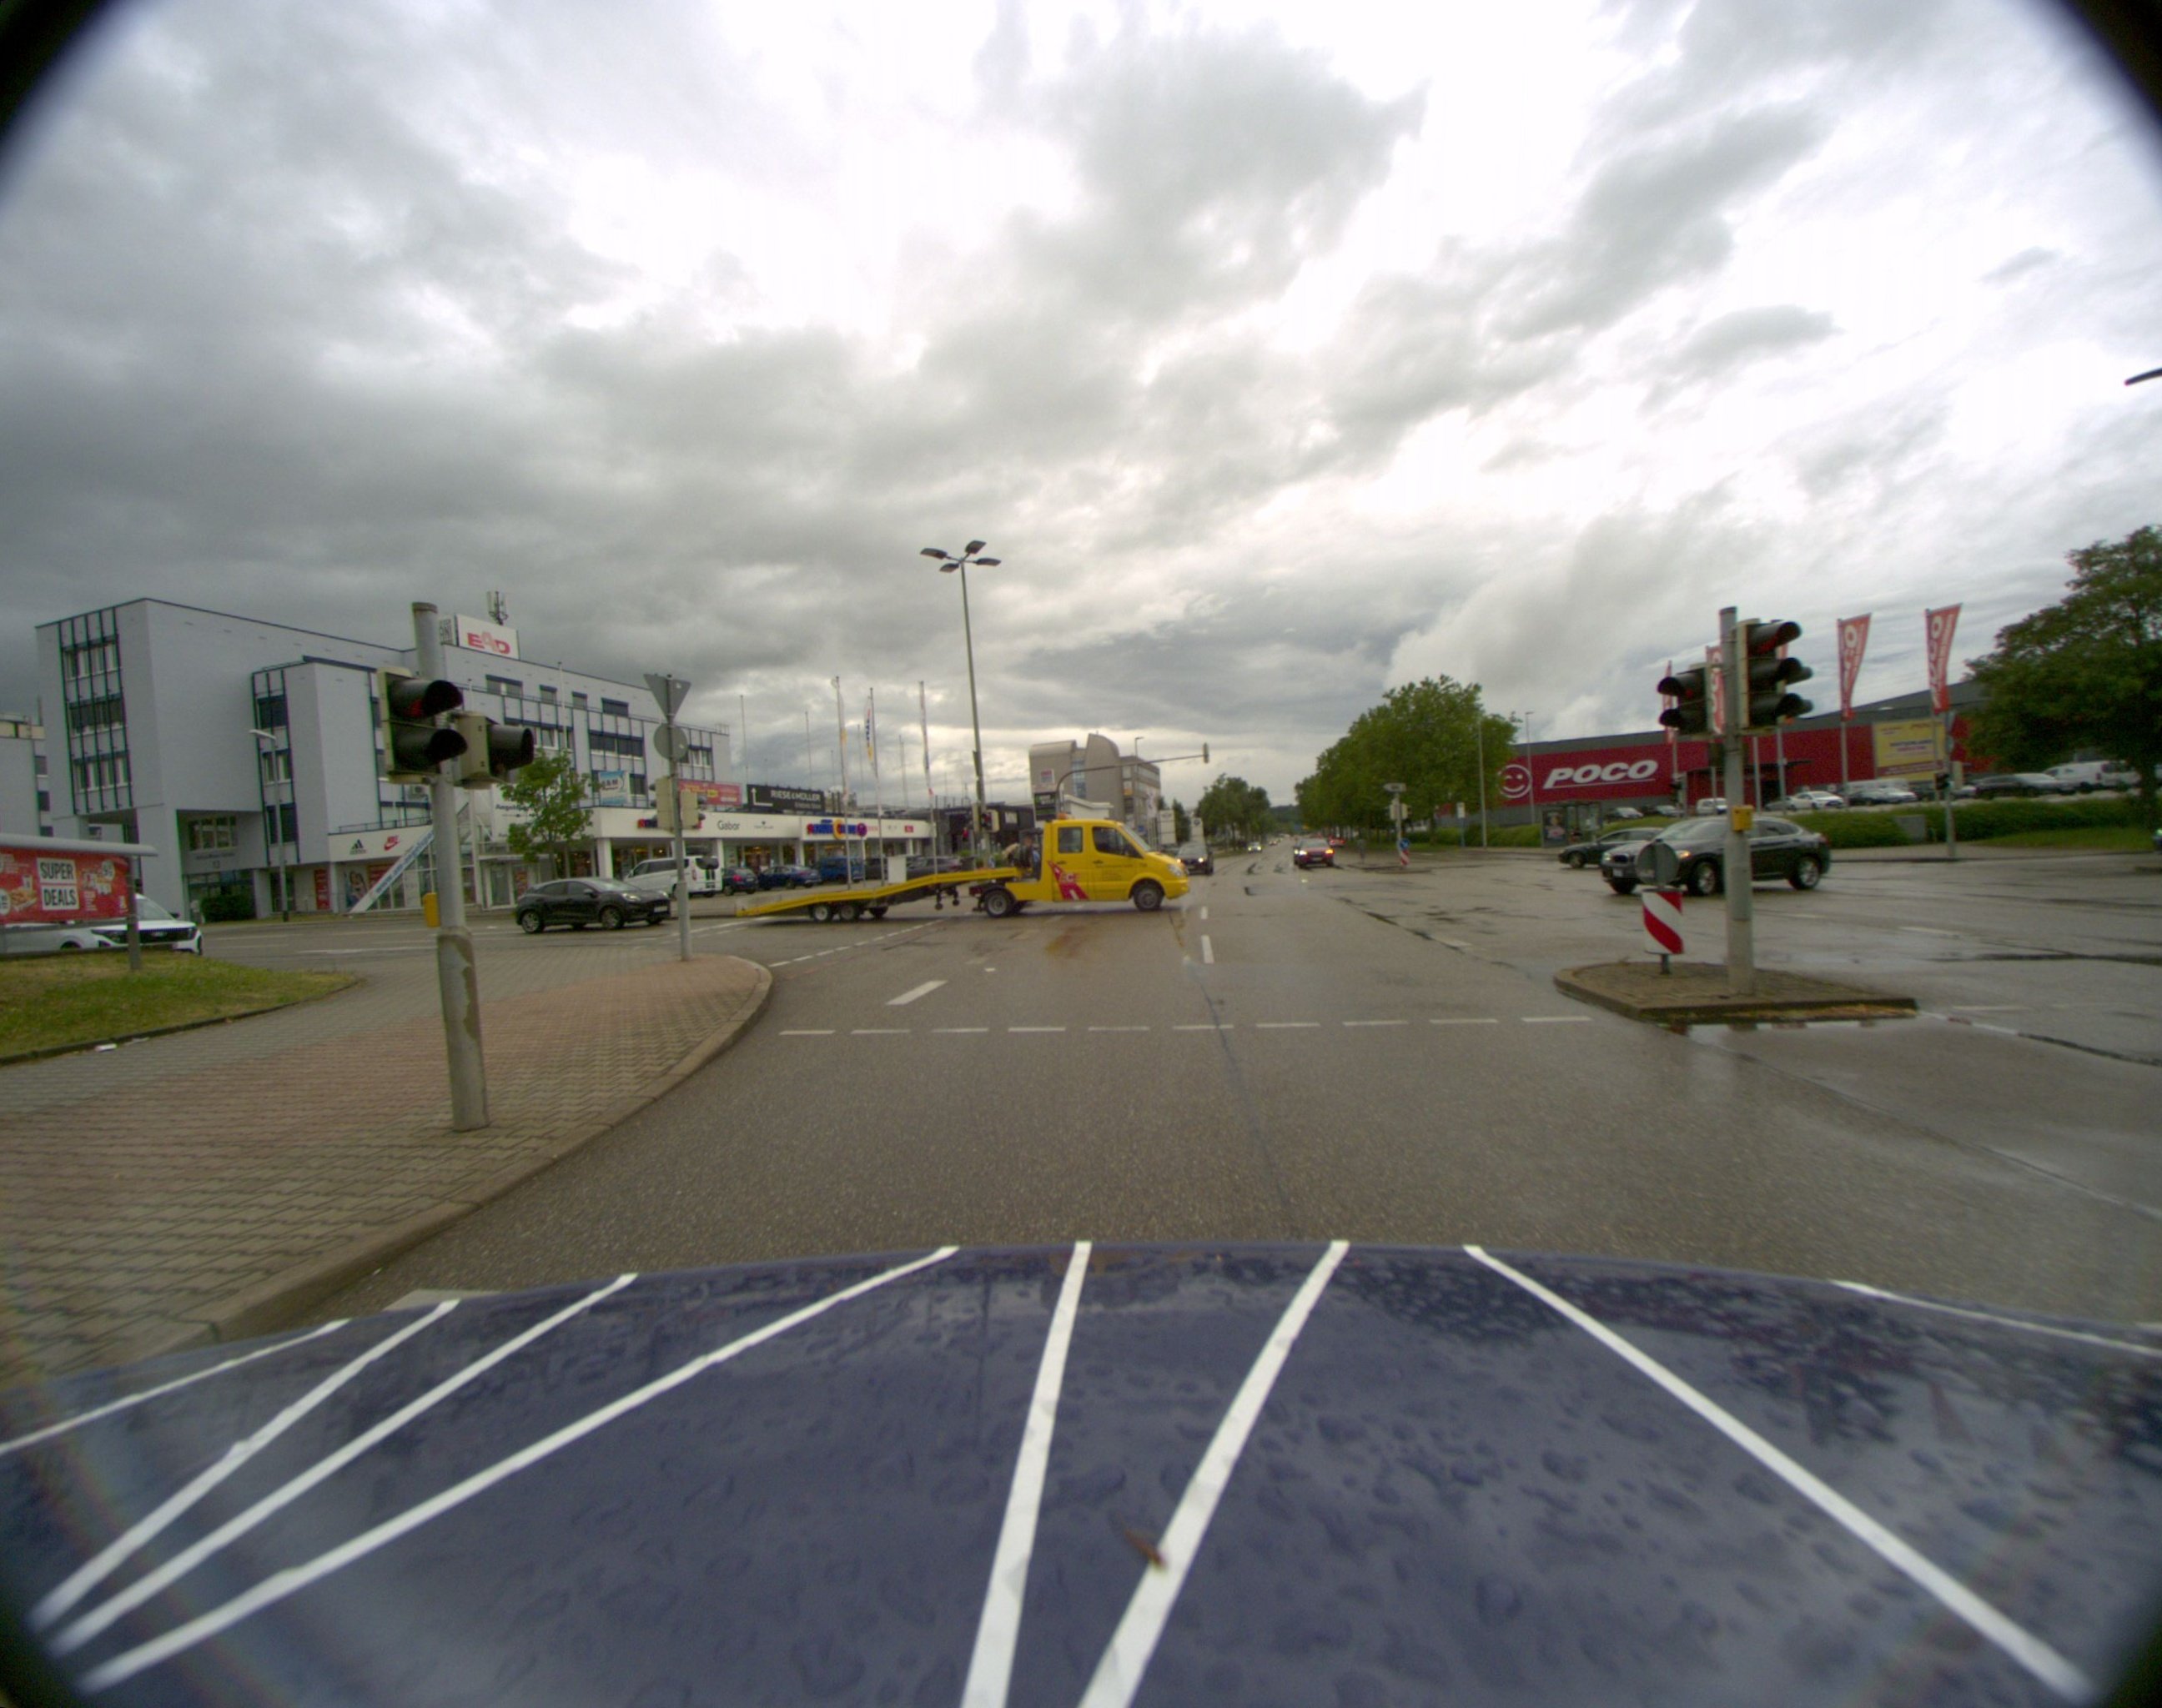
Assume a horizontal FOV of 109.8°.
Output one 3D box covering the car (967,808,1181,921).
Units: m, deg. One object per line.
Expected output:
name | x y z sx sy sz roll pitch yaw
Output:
car | -0.080 0.276 19.310 5.008 2.459 2.248 -3 0 9

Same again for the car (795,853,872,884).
car | -15.956 0.908 49.066 4.366 1.754 1.899 -3 1 16

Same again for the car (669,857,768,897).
car | -18.740 1.175 39.296 4.366 1.809 1.899 -3 1 16

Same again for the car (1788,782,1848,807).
car | 58.864 -4.718 60.764 1.670 1.636 3.967 -3 0 15

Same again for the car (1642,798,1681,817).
car | 58.239 -4.657 76.281 1.694 1.636 3.967 -3 0 15

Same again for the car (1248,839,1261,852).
car | 23.308 -1.162 101.828 1.618 1.718 3.681 -2 0 13

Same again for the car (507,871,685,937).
car | -13.848 1.414 21.814 3.994 1.532 1.815 -3 2 9

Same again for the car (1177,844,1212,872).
car | 6.272 0.171 41.757 1.752 1.455 4.003 -1 1 11

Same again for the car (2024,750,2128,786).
car | 57.481 -4.932 43.990 1.629 1.636 3.831 -3 1 15

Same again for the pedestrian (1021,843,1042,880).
pedestrian | -2.486 0.384 38.326 0.814 1.846 0.698 -1 3 17

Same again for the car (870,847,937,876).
car | -13.117 0.556 56.290 4.366 1.895 1.899 -3 1 16

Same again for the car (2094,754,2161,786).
car | 56.586 -4.481 40.092 1.670 1.373 3.913 -3 0 15

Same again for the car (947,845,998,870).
car | -9.625 0.301 67.602 3.991 2.002 1.913 -3 1 20

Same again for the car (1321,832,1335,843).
car | 37.972 -2.466 116.924 1.840 1.579 4.004 -3 0 14

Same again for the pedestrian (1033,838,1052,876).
pedestrian | -2.051 0.166 40.691 0.740 2.002 0.698 -2 1 17

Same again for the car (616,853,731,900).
car | -19.367 1.074 36.144 4.778 2.002 2.002 -3 0 18

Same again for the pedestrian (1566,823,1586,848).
pedestrian | 29.141 -1.067 44.723 0.780 1.423 0.642 -2 1 11

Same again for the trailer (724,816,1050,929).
trailer | -5.024 0.506 20.096 7.959 2.459 2.312 -3 0 10

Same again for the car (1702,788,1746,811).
car | 63.683 -5.359 75.312 1.788 1.914 3.753 -3 0 13

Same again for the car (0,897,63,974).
car | -26.637 1.991 17.794 3.993 1.698 1.825 -3 1 13

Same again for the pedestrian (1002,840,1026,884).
pedestrian | -3.102 0.356 35.180 0.817 2.002 0.696 -3 2 -26

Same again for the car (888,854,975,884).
car | -7.928 0.798 40.268 4.118 1.386 1.826 -3 1 20

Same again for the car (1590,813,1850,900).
car | 13.709 0.020 16.378 4.593 1.544 1.899 -3 1 -14

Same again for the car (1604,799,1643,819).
car | 52.058 -4.292 72.946 1.694 1.636 3.967 -3 0 15

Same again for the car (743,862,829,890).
car | -16.986 1.263 43.779 4.366 1.386 1.825 -3 1 16

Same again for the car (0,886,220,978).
car | -21.620 1.687 16.646 4.242 1.772 1.801 -3 -1 13

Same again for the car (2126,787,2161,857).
car | 27.012 -0.828 16.808 4.544 1.623 1.803 -2 1 11

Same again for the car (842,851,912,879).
car | -14.438 0.789 53.783 4.366 1.754 1.899 -3 1 16

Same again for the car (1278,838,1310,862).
car | 13.668 -0.268 48.952 1.695 1.389 3.705 -3 1 12

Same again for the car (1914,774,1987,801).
car | 66.060 -5.030 57.808 1.670 1.636 3.967 -3 0 15

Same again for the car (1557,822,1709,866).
car | 19.670 -0.320 27.271 1.791 1.396 3.991 -3 1 -28

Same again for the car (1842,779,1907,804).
car | 61.576 -4.826 59.038 1.670 1.636 3.967 -3 0 15

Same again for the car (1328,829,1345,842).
car | 34.538 -2.506 102.795 1.840 1.579 4.004 -2 0 14

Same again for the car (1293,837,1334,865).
car | 13.008 -0.184 42.680 1.716 1.455 4.003 -1 1 11

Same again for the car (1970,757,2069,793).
car | 54.508 -4.537 44.231 1.670 1.636 3.831 -3 0 15
